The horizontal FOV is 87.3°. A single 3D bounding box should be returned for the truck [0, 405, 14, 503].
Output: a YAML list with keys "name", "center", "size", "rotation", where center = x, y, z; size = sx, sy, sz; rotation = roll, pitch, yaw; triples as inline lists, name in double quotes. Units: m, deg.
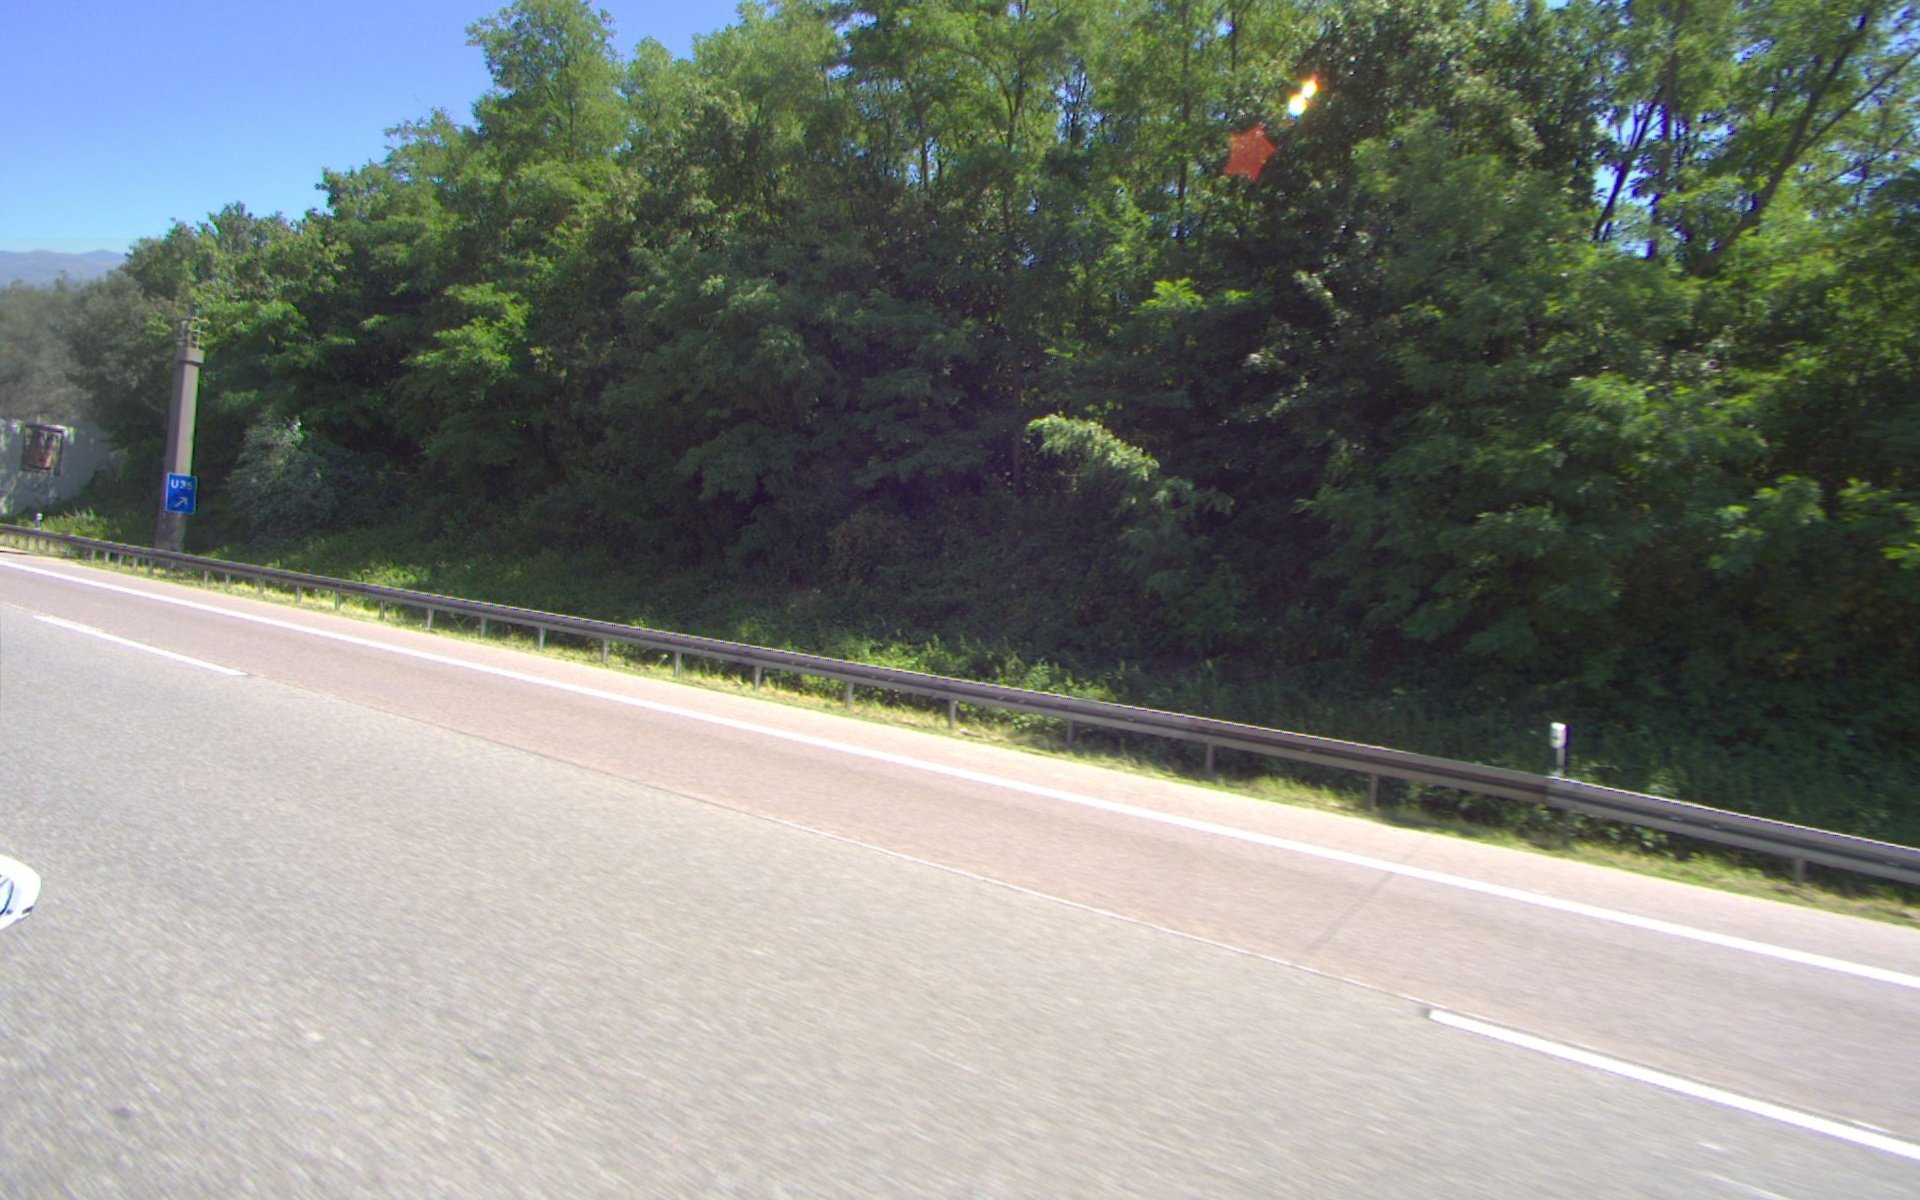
- name: "truck"
  center: [-30.297, -3.619, 28.206]
  size: [10.809, 4.082, 2.979]
  rotation: [6, -3, 35]
